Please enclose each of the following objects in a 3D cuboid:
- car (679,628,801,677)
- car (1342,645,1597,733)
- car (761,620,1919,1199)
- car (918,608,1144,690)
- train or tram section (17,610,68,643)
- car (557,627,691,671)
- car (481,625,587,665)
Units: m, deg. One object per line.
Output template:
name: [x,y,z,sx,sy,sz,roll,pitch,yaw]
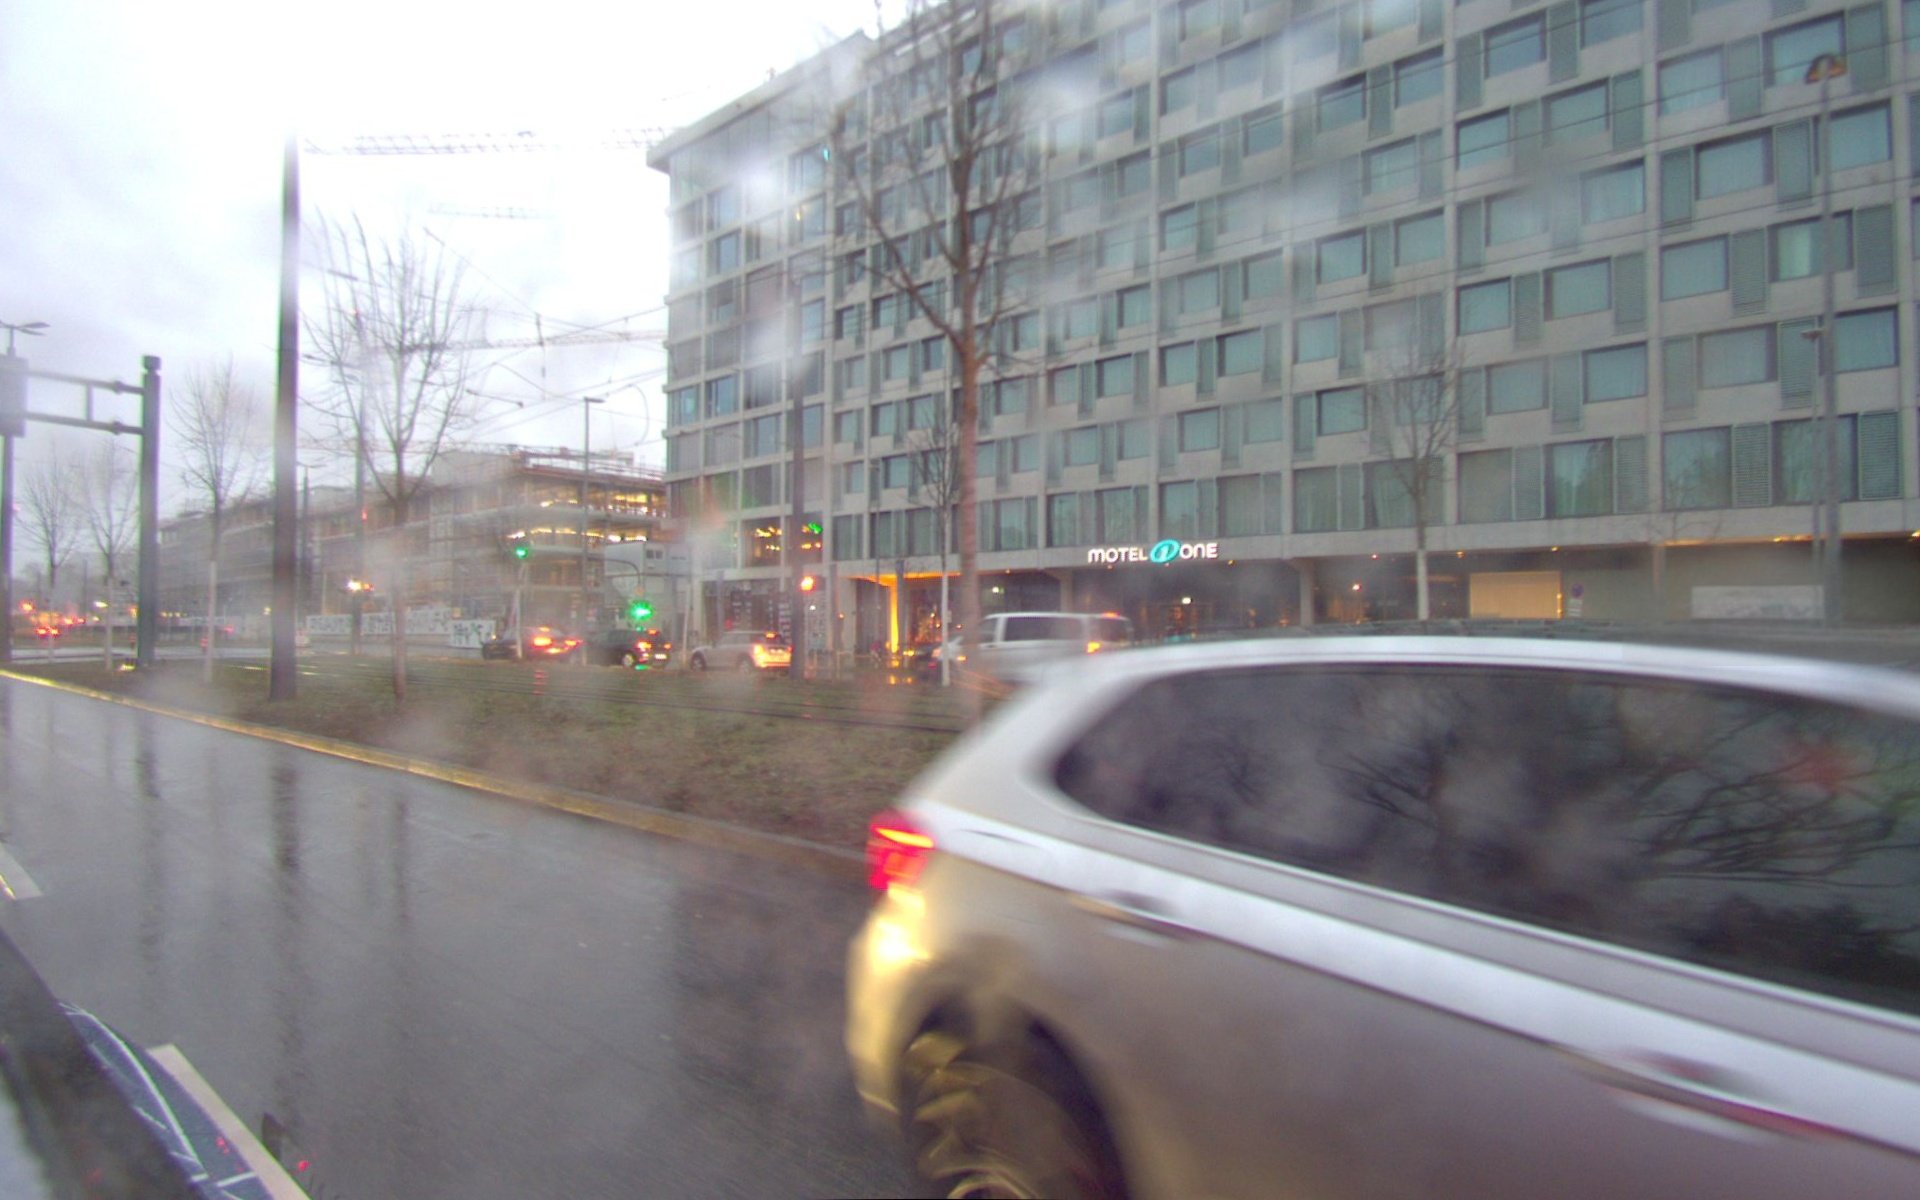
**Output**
car: [-6.884,1.590,31.495,3.704,1.442,1.876,-2,-3,41]
car: [11.593,1.943,23.268,4.915,1.732,1.876,-2,-2,42]
car: [1.584,0.738,1.795,3.979,1.381,1.744,-1,-1,41]
car: [1.560,1.105,23.594,5.110,1.732,1.878,-1,-2,38]
train or tram section: [-103.118,3.002,113.686,14.264,3.513,2.925,-2,-3,43]
car: [-12.036,1.722,36.218,4.425,1.508,1.983,-1,-2,26]
car: [-17.124,1.776,40.583,5.032,1.479,1.972,-2,-3,42]
